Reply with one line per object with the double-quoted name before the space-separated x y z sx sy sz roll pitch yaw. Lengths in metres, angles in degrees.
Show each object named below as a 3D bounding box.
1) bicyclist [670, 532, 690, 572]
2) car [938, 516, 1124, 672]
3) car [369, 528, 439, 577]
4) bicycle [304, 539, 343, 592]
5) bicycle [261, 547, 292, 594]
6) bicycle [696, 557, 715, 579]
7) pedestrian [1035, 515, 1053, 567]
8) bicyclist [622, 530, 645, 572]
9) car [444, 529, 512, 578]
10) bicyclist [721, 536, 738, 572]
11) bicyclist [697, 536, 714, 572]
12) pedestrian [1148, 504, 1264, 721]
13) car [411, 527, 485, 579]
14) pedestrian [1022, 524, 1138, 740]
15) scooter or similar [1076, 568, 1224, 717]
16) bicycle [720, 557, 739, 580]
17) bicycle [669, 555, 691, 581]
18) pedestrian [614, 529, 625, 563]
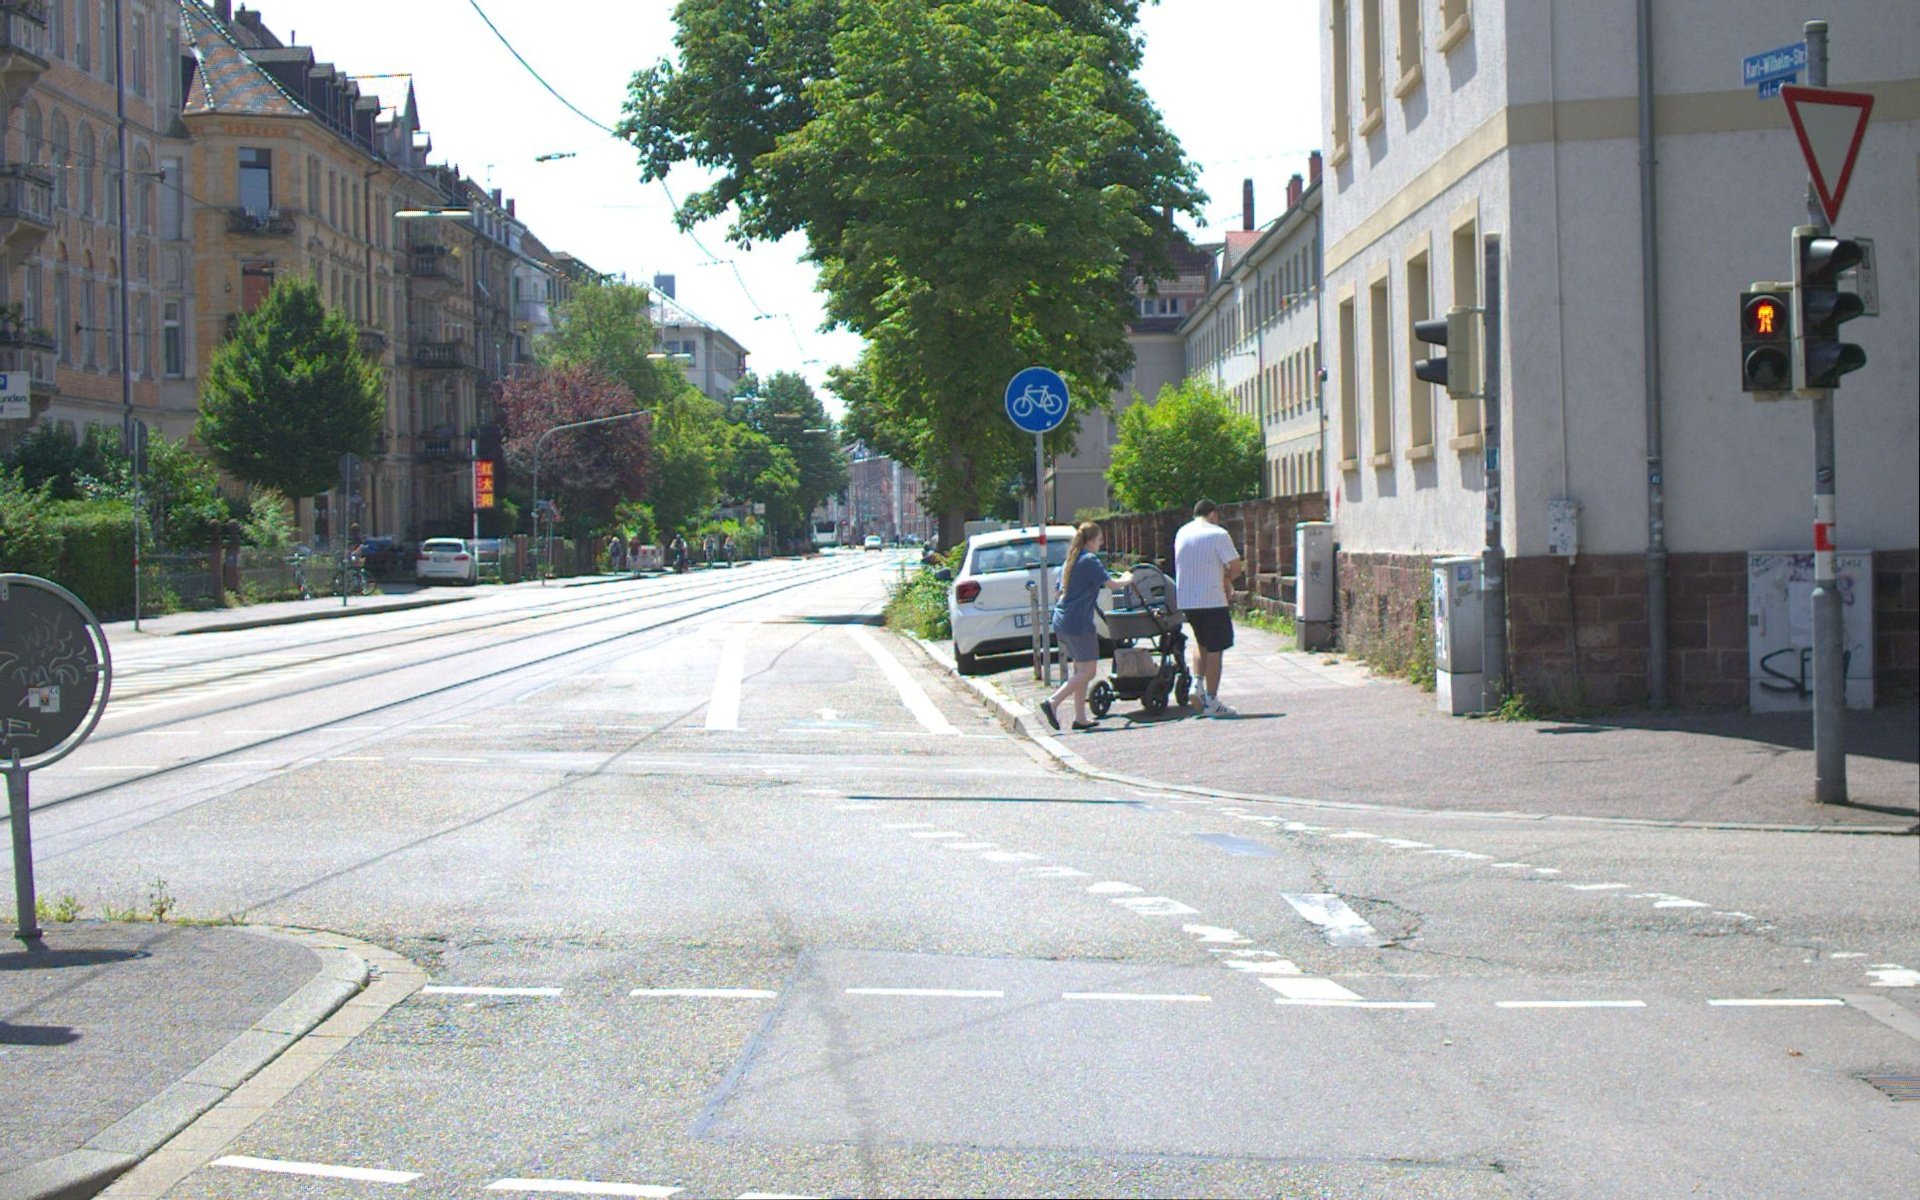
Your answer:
"bicyclist" -12.303 -2.098 151.094 0.727 1.762 1.079 1 0 1
"car" 0.717 -0.083 37.328 1.815 1.511 4.000 -3 1 -1
"car" -20.023 -1.698 123.908 1.919 1.709 4.000 1 1 -1
"bicycle" -15.665 -0.849 84.674 0.677 1.274 1.919 -1 1 -3
"bicycle" -15.908 -0.699 80.031 0.677 1.061 1.919 -1 1 -11
"bicycle" -12.737 -1.597 171.916 0.727 1.119 2.085 1 1 1
"pedestrian" 2.551 -1.793 104.556 0.521 1.557 0.573 -1 1 -1
"bicyclist" -12.555 -1.880 132.080 0.727 1.623 1.079 1 0 1
"car" -17.336 -1.659 123.835 1.919 1.709 4.000 1 1 -1
"bicyclist" -11.507 -2.296 171.864 0.727 1.812 1.079 1 0 1
"bicyclist" -12.725 -2.298 171.899 0.727 1.812 1.079 1 0 1
"pedestrian" 1.888 0.089 26.403 0.675 1.640 0.558 0 1 -45
"car" -17.193 -1.575 115.571 1.919 1.709 4.000 1 1 -1
"pedestrian" 0.929 0.240 26.584 0.675 1.640 0.558 0 1 -45
"scooter or similar" 1.515 0.327 27.279 0.558 1.151 1.202 1 1 39
"bicycle" -11.523 -1.584 171.869 0.727 1.119 2.085 1 1 1
"bicycle" -12.311 -1.397 151.171 0.727 1.119 2.085 1 1 1
"pedestrian" -14.663 -2.322 148.063 0.406 1.456 0.436 -1 1 -1
